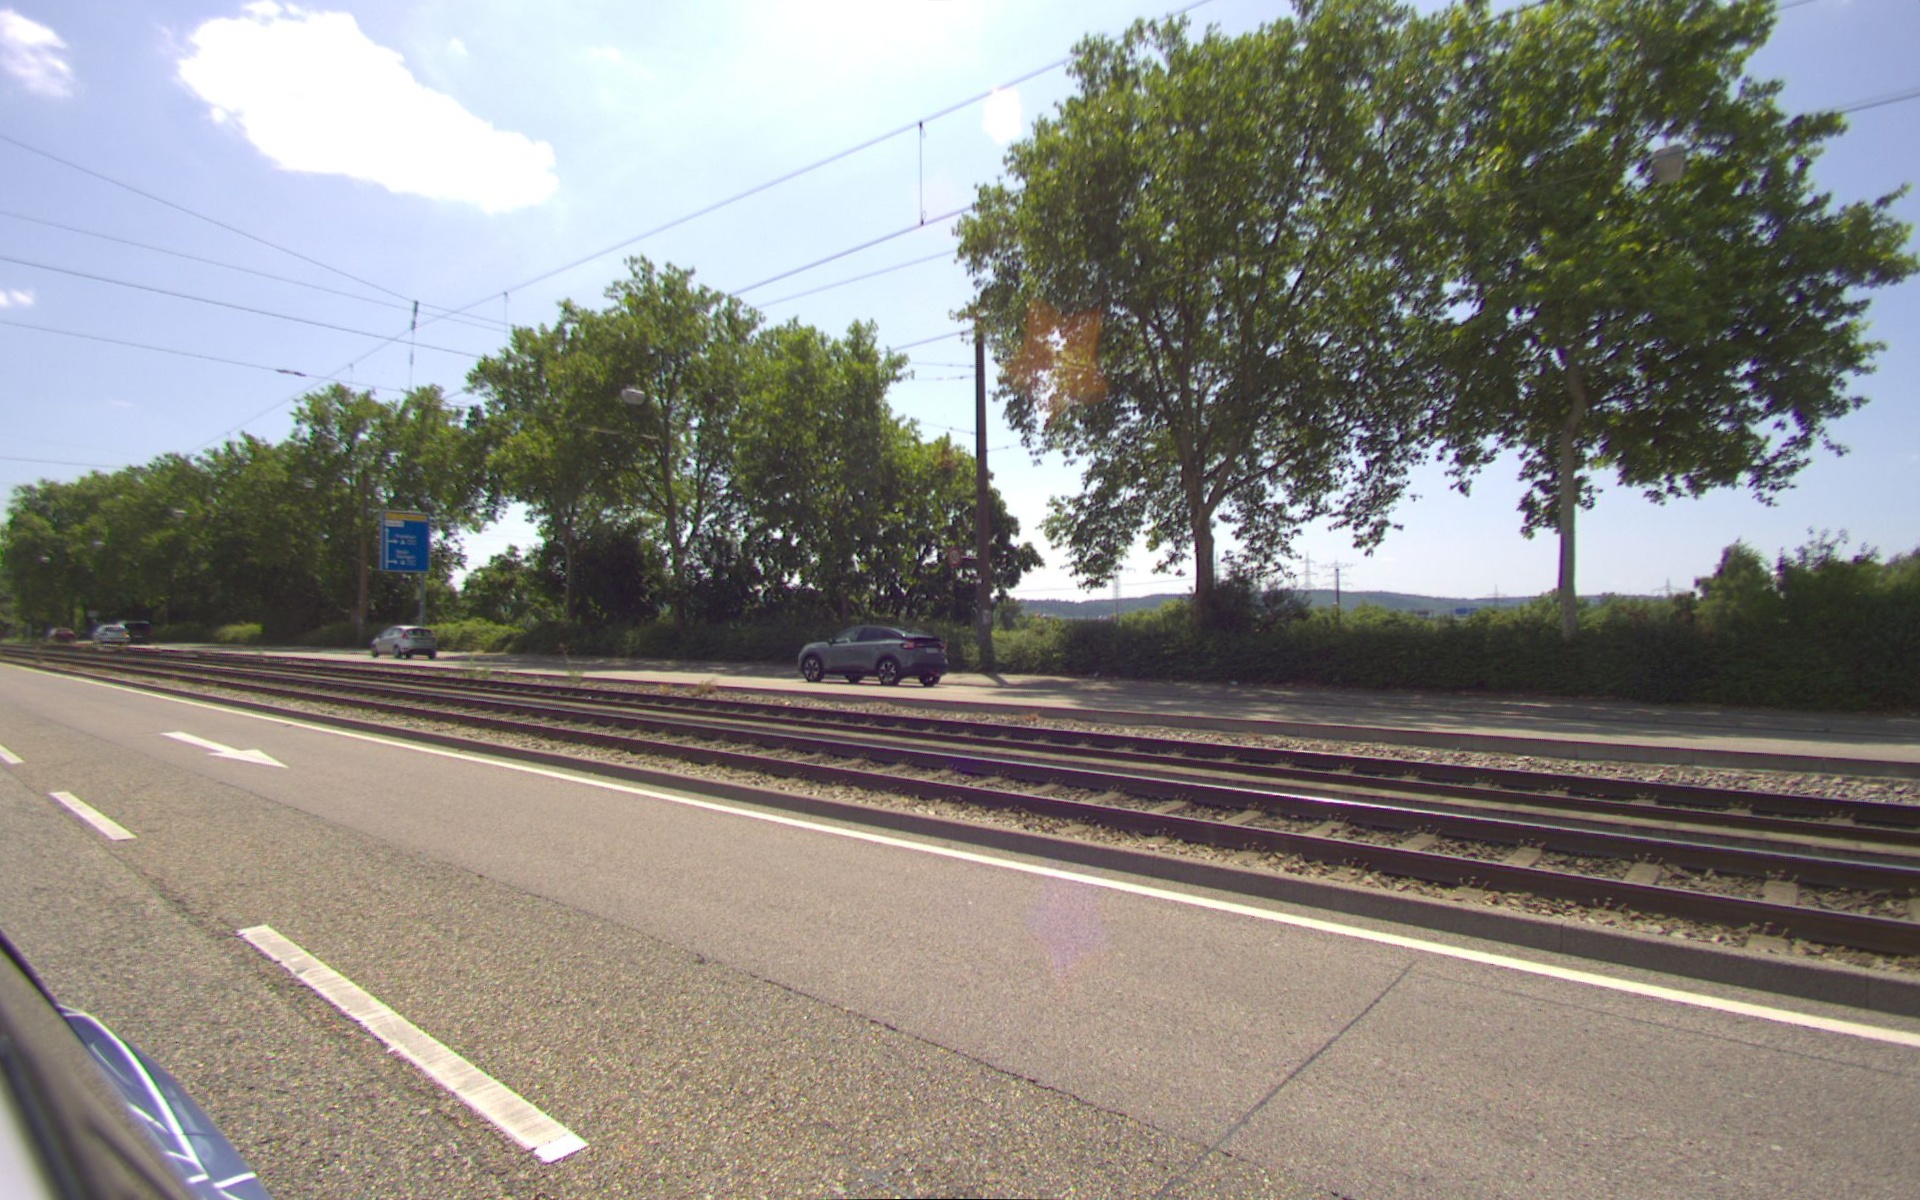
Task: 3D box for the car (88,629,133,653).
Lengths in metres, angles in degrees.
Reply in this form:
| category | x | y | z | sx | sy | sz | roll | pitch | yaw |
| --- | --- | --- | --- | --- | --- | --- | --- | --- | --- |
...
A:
| category | x | y | z | sx | sy | sz | roll | pitch | yaw |
| --- | --- | --- | --- | --- | --- | --- | --- | --- | --- |
| car | -59.735 | 2.897 | 71.168 | 4.055 | 1.596 | 1.668 | -2 | -5 | 40 |

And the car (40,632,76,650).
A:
| category | x | y | z | sx | sy | sz | roll | pitch | yaw |
| --- | --- | --- | --- | --- | --- | --- | --- | --- | --- |
| car | -89.896 | 4.102 | 100.835 | 4.463 | 1.683 | 1.974 | -2 | -4 | 39 |

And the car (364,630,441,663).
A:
| category | x | y | z | sx | sy | sz | roll | pitch | yaw |
| --- | --- | --- | --- | --- | --- | --- | --- | --- | --- |
| car | -25.304 | 2.085 | 45.898 | 3.881 | 1.426 | 1.804 | -1 | -2 | 40 |

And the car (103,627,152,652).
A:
| category | x | y | z | sx | sy | sz | roll | pitch | yaw |
| --- | --- | --- | --- | --- | --- | --- | --- | --- | --- |
| car | -65.360 | 3.084 | 79.428 | 4.965 | 1.845 | 1.973 | -2 | -4 | 40 |

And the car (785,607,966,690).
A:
| category | x | y | z | sx | sy | sz | roll | pitch | yaw |
| --- | --- | --- | --- | --- | --- | --- | --- | --- | --- |
| car | -2.229 | 1.219 | 26.125 | 4.404 | 1.932 | 1.975 | 0 | -5 | 37 |
